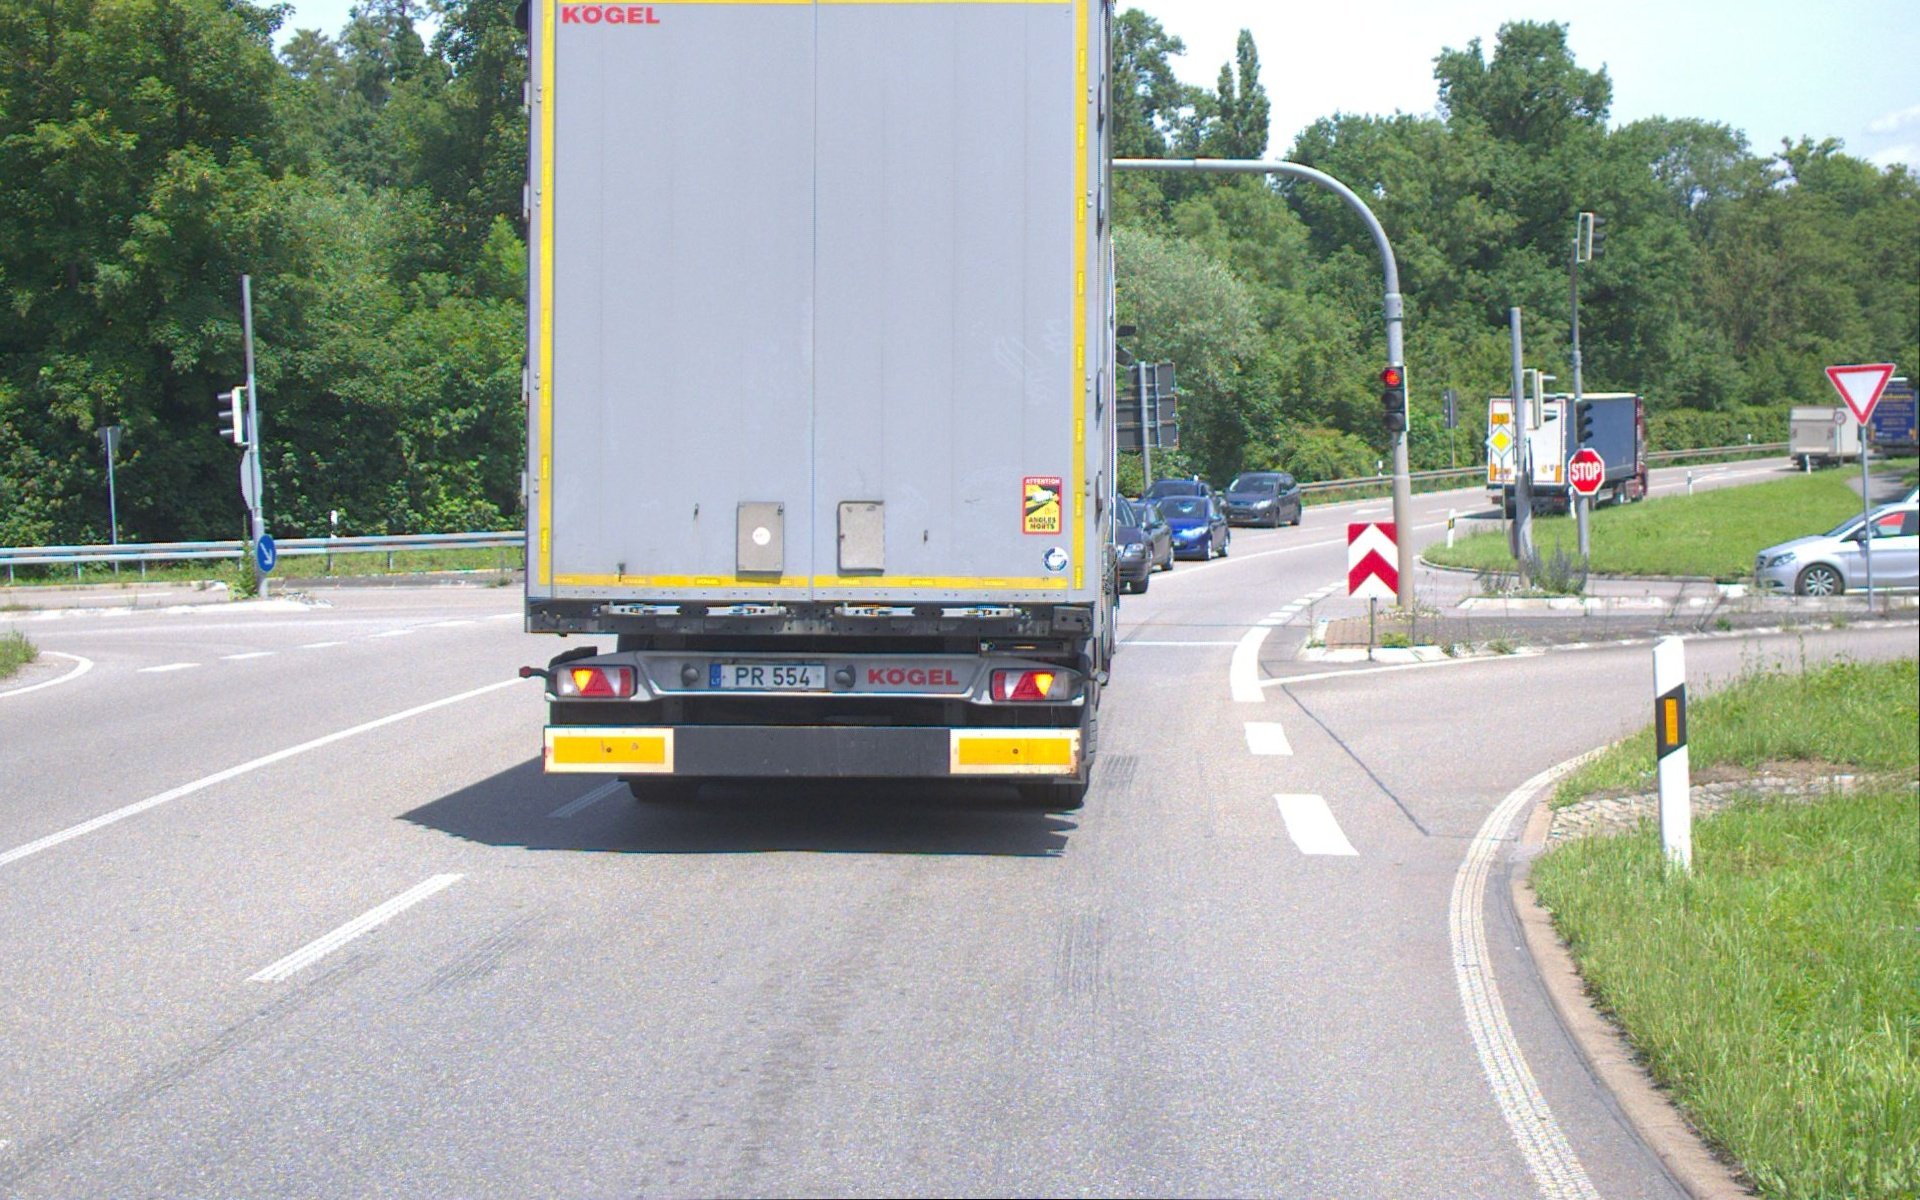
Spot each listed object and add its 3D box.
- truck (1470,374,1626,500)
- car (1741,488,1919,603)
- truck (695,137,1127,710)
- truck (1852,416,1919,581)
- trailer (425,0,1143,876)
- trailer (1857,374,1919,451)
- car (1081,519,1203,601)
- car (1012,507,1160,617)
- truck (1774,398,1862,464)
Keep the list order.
[{"bbox_3d":[19.946,-5.443,115.988,3.182,4.015,11.734,1,2,20],"label":"truck"},{"bbox_3d":[14.543,-0.824,53.567,4.429,1.712,1.999,1,0,7],"label":"car"},{"bbox_3d":[-0.211,-1.373,27.542,3.038,4.019,6.630,0,2,2],"label":"truck"},{"bbox_3d":[18.257,-1.670,57.789,6.018,2.718,2.499,1,0,22],"label":"truck"},{"bbox_3d":[-0.492,-1.094,20.902,3.052,4.019,12.559,0,2,2],"label":"trailer"},{"bbox_3d":[48.264,-9.508,175.712,3.255,3.672,9.240,1,2,23],"label":"trailer"},{"bbox_3d":[3.568,-0.747,66.575,1.994,1.485,4.256,1,0,8],"label":"car"},{"bbox_3d":[2.215,-0.616,59.112,1.994,1.779,4.940,1,0,8],"label":"car"},{"bbox_3d":[40.341,-7.898,161.506,2.859,2.938,7.096,1,2,23],"label":"truck"}]
